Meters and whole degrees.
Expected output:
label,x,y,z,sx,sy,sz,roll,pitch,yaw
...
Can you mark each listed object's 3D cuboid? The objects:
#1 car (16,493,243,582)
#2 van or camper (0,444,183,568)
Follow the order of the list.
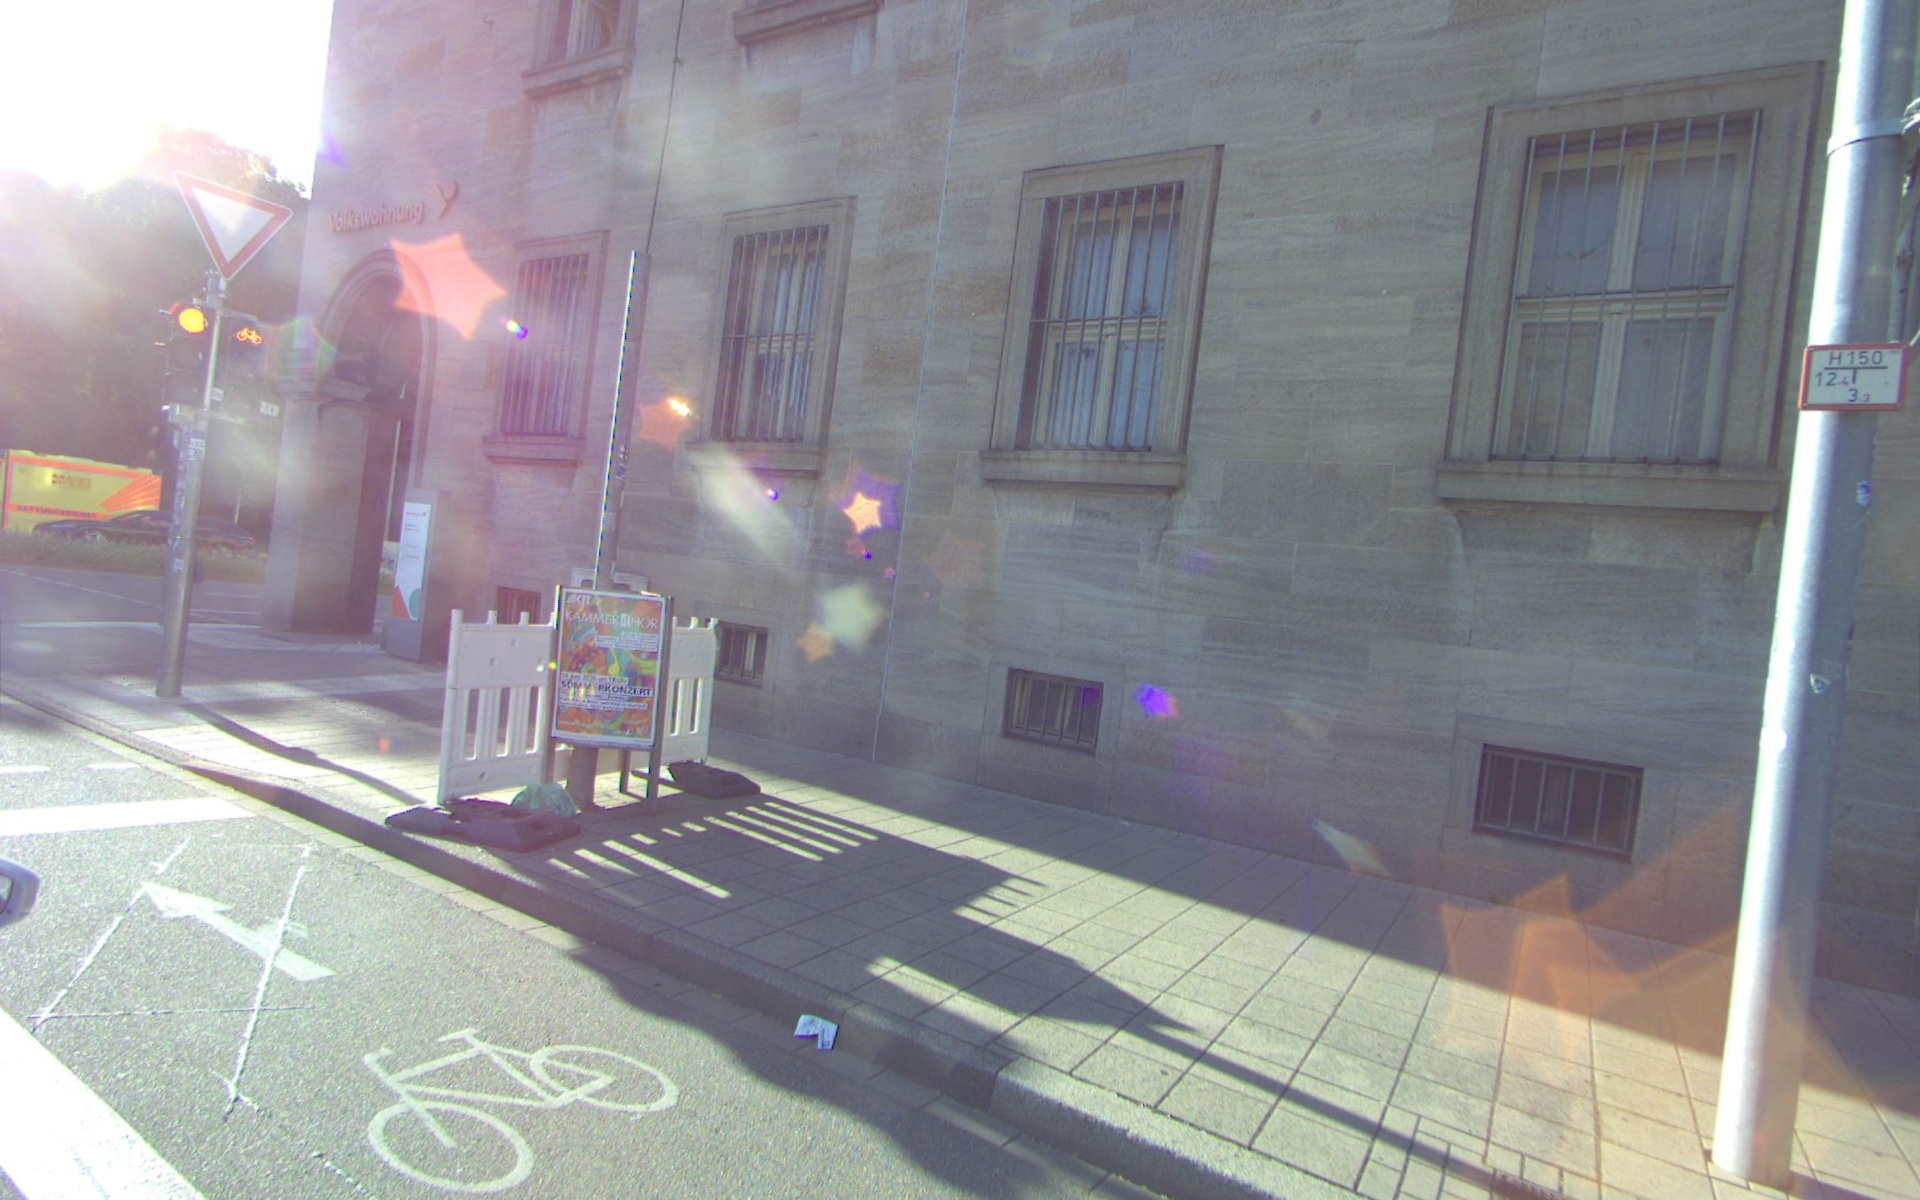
label,x,y,z,sx,sy,sz,roll,pitch,yaw
car,-22.622,-1.652,27.583,1.857,1.665,4.324,6,-3,32
van or camper,-27.750,-2.937,29.824,2.866,2.893,6.716,5,-3,36
